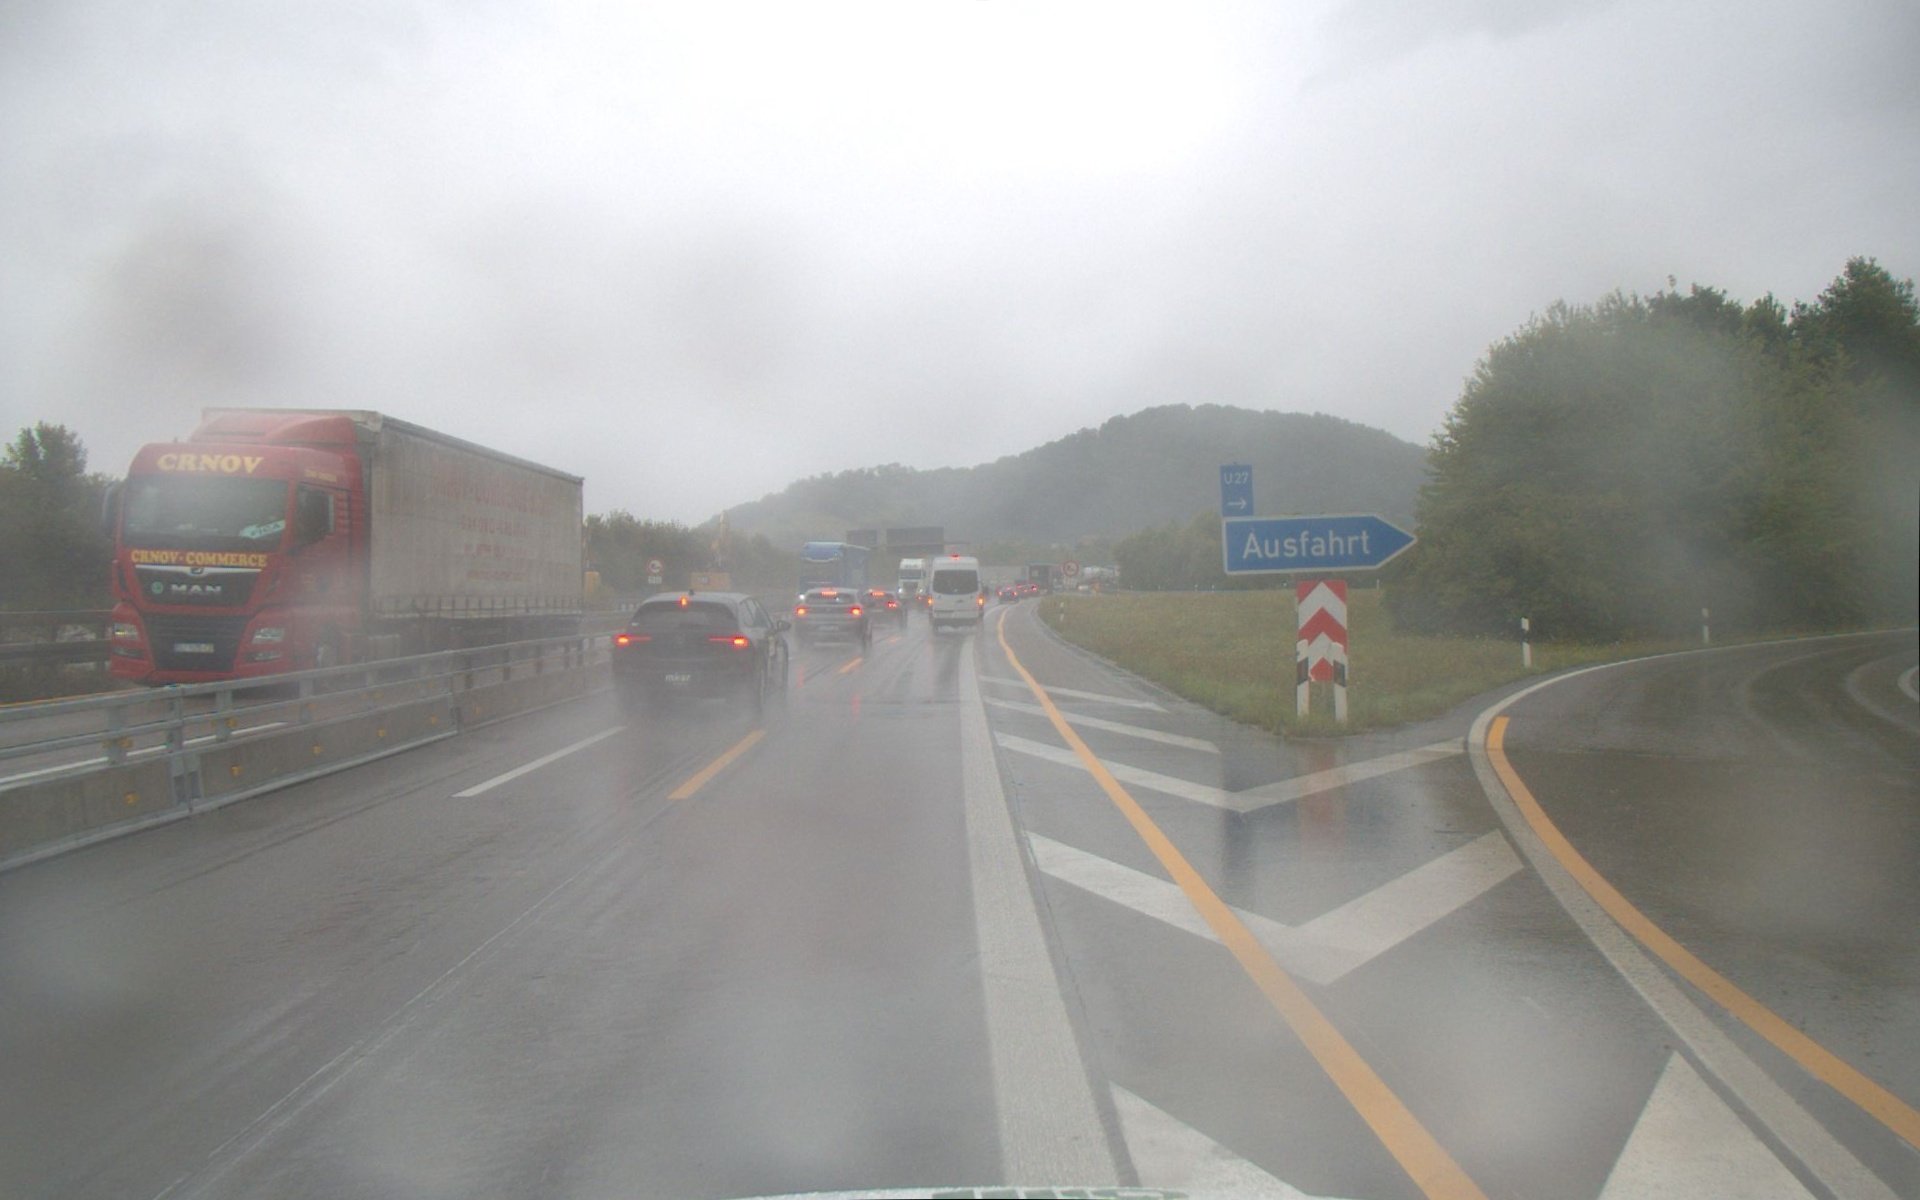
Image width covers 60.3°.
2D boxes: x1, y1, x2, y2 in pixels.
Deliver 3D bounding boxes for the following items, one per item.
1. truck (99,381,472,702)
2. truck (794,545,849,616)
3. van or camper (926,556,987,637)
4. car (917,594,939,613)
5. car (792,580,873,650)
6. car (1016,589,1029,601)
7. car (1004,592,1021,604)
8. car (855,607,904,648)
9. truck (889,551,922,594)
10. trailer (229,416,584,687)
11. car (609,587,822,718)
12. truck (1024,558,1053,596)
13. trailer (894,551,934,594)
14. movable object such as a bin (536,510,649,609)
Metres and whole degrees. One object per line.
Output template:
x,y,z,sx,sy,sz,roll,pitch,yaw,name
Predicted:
-9.845,-0.759,25.153,2.588,4.119,7.285,1,0,0,truck
-8.341,-1.208,100.550,2.569,4.153,6.671,0,1,2,truck
-0.170,-0.142,59.035,2.096,2.769,4.647,0,0,-1,van or camper
-1.874,0.219,97.905,1.237,1.097,3.254,0,0,0,car
-3.177,0.351,41.950,1.829,1.688,3.987,0,0,-1,car
6.513,-0.545,173.483,1.356,1.278,3.123,0,0,1,car
4.619,-0.200,146.717,1.356,1.097,3.122,0,0,-1,car
-3.155,1.065,65.217,1.815,1.527,3.999,0,0,-1,car
-5.227,-2.646,160.115,2.431,4.101,6.453,0,1,5,truck
-9.799,-0.755,31.196,2.559,4.077,11.928,1,0,0,trailer
-2.938,0.577,20.882,1.899,1.452,4.760,1,0,1,car
10.417,-2.973,218.089,3.250,4.868,9.913,1,0,5,truck
-4.593,-2.834,166.853,2.441,4.119,12.596,-1,1,6,trailer
-23.704,-2.509,107.502,4.083,6.018,11.050,1,0,4,movable object such as a bin
